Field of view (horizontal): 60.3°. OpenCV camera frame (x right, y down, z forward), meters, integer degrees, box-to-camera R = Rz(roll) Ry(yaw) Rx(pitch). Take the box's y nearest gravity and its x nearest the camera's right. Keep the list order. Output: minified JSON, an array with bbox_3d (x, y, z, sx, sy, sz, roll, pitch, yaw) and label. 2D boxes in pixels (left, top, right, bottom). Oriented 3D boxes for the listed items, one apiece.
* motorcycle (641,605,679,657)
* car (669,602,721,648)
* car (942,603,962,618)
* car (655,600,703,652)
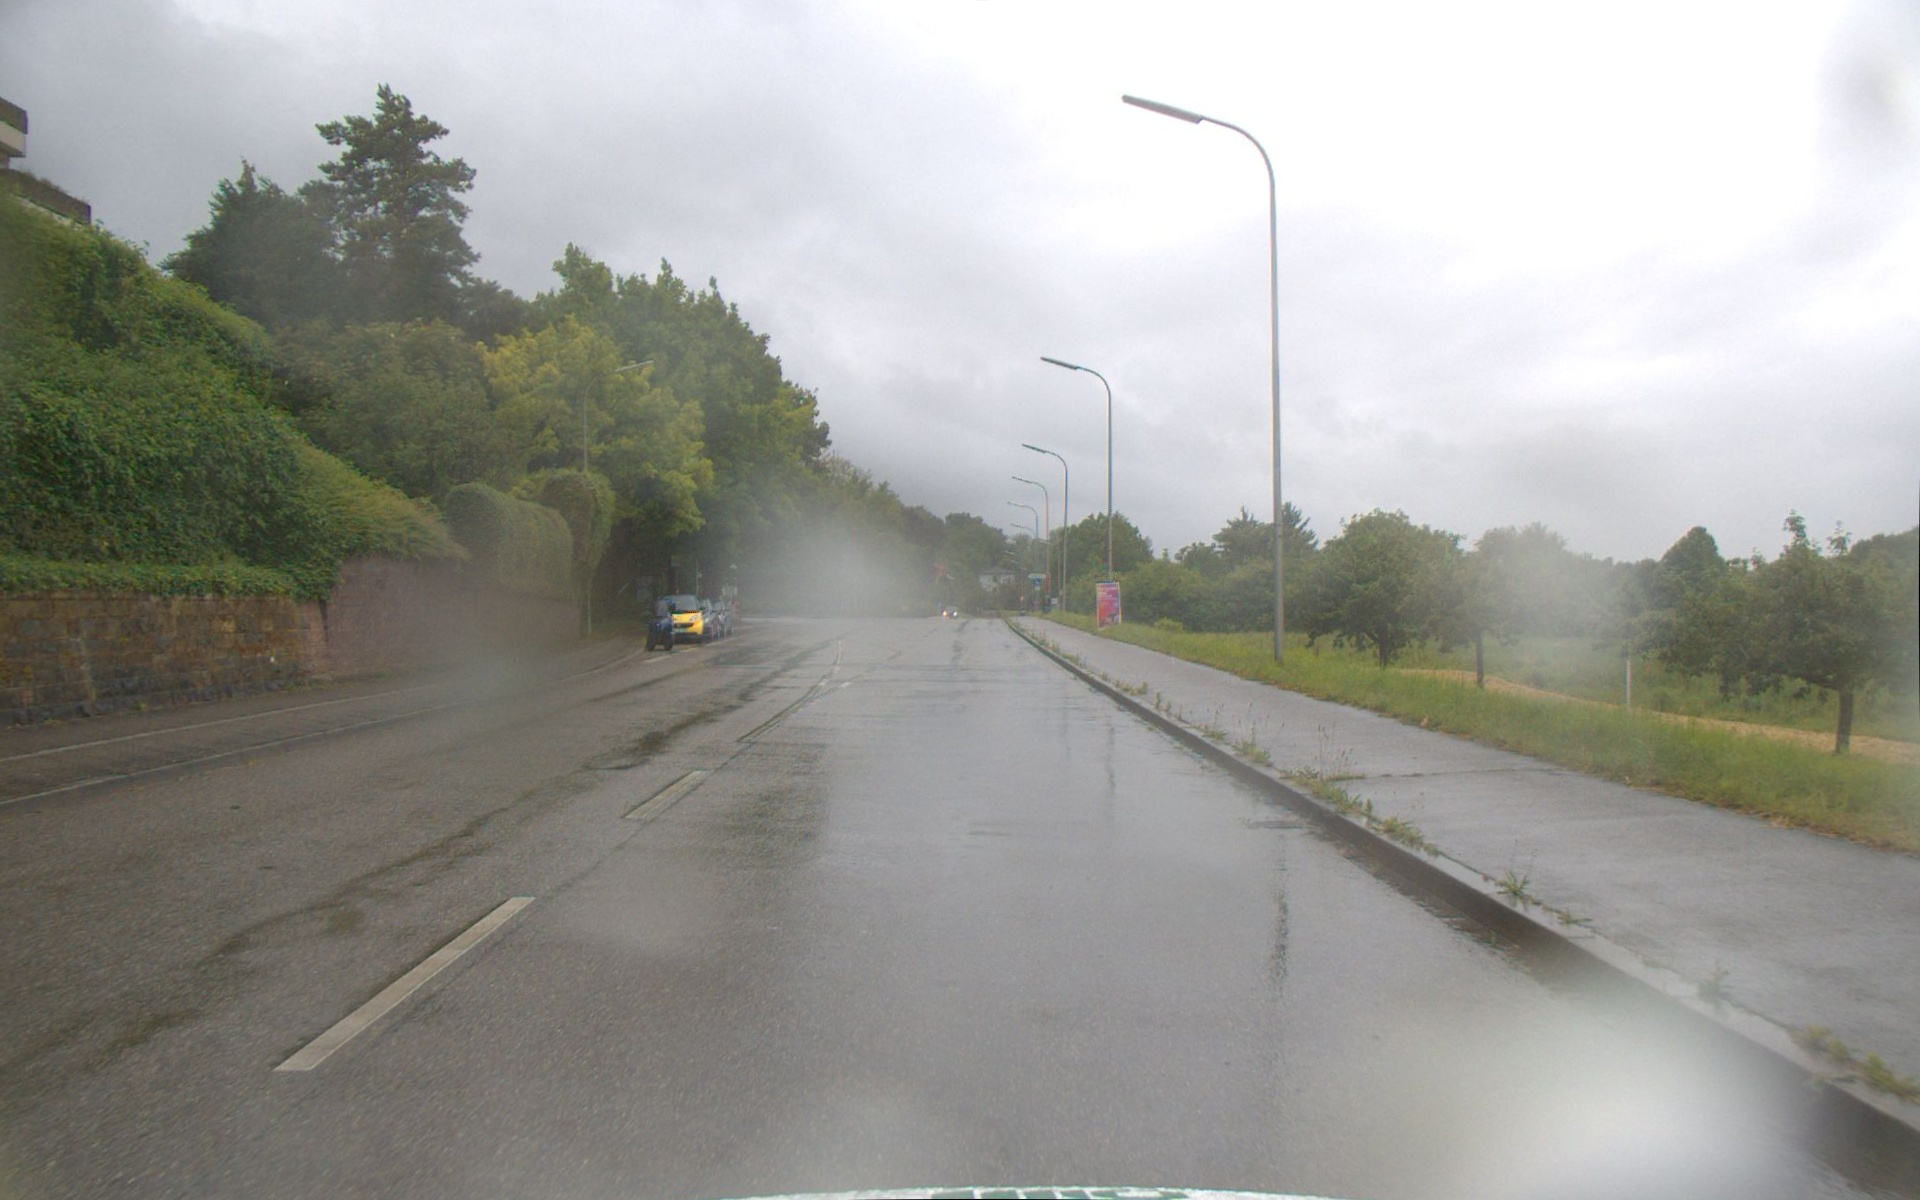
[{"bbox_3d":[-8.155,0.824,45.027,0.821,1.364,2.495,-1,0,-7],"label":"motorcycle"},{"bbox_3d":[-8.910,0.814,55.810,1.405,1.444,4.099,-1,0,-5],"label":"car"},{"bbox_3d":[-0.977,1.287,201.785,1.756,1.793,4.003,0,0,10],"label":"car"},{"bbox_3d":[-8.736,0.789,51.572,1.407,1.564,2.814,-1,0,-9],"label":"car"}]
